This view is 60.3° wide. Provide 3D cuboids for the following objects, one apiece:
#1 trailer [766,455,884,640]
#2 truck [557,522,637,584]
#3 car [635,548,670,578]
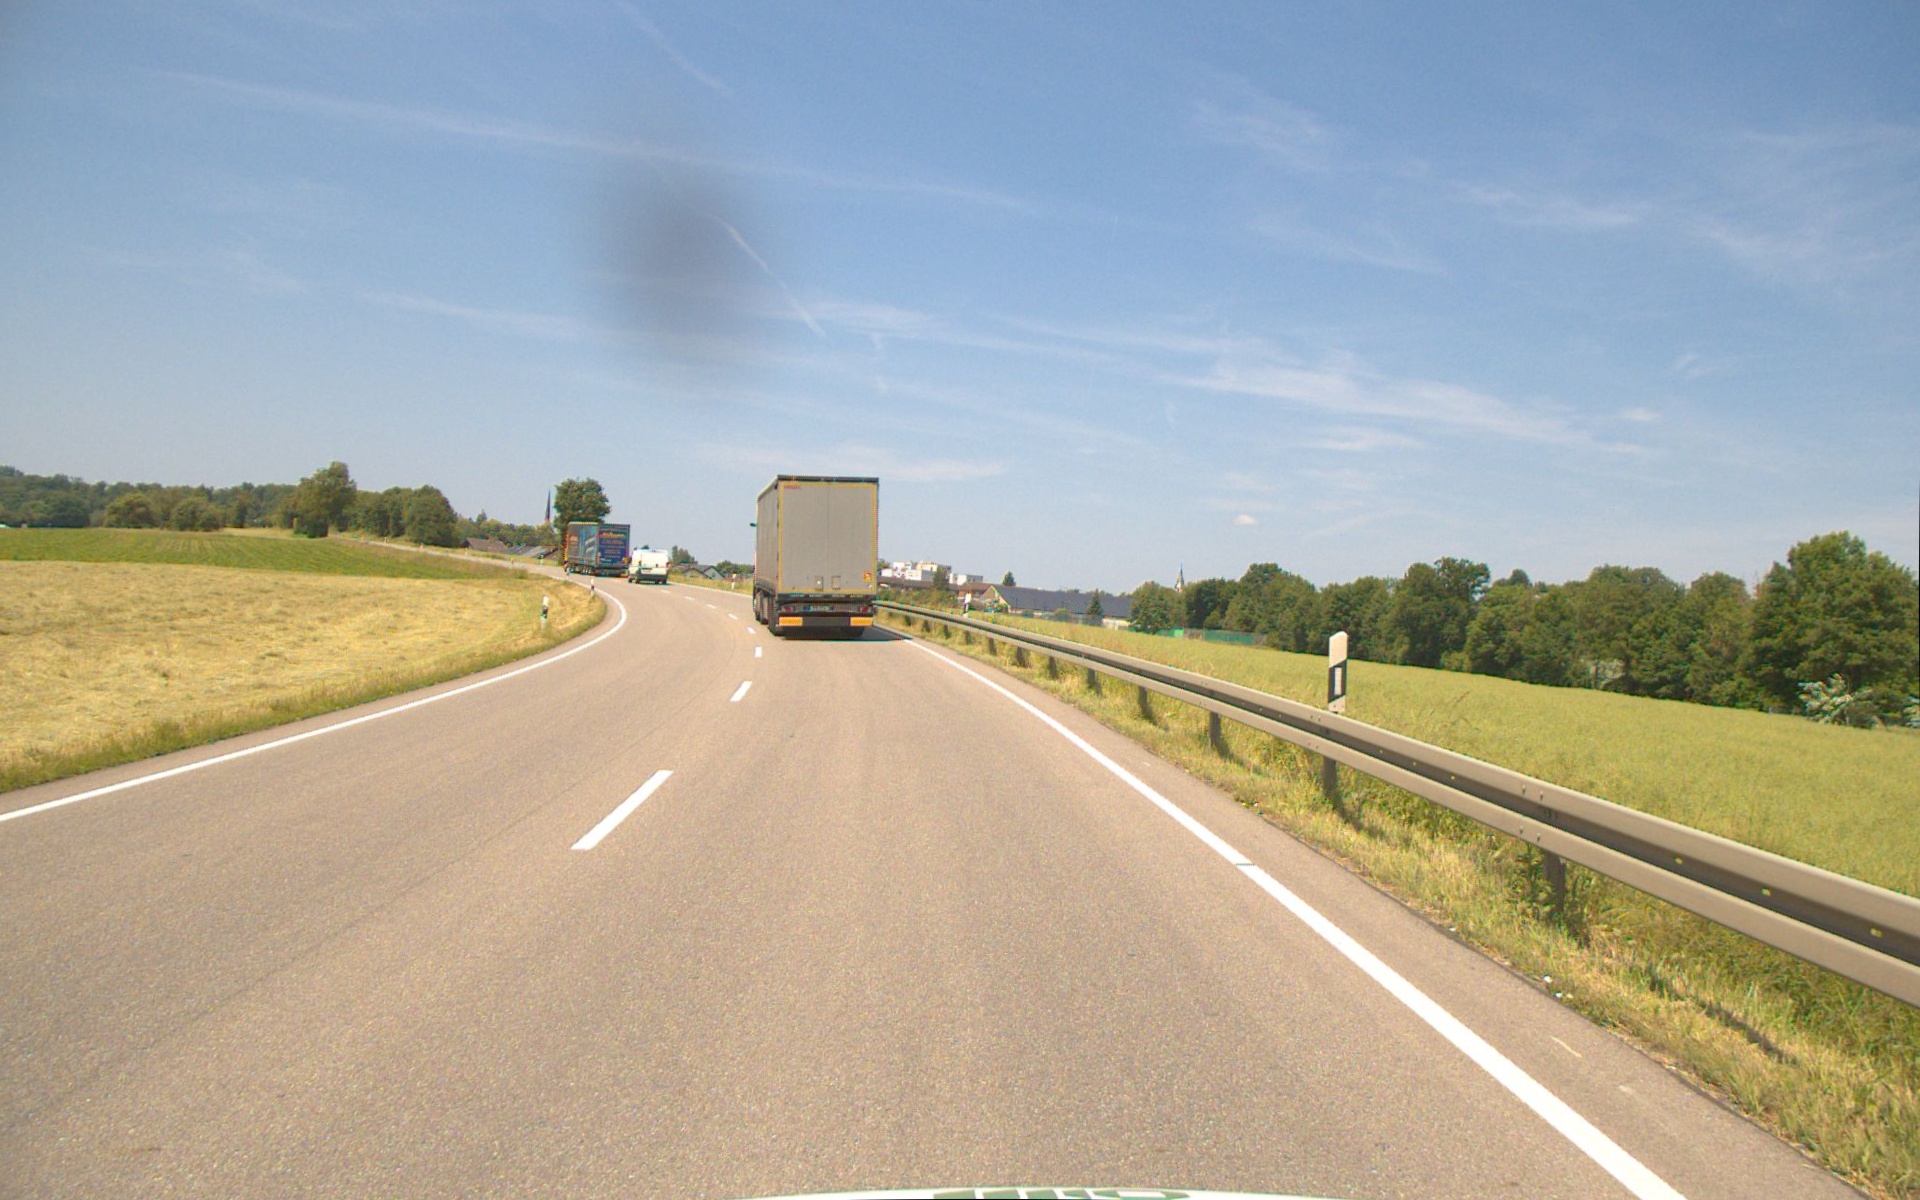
[{"bbox_3d":[-4.014,-1.394,46.994,2.812,4.477,13.475,1,1,-6],"label":"trailer"},{"bbox_3d":[-29.498,-3.766,133.590,3.498,4.468,18.010,3,0,-21],"label":"truck"},{"bbox_3d":[-20.583,-2.466,110.622,1.698,1.905,3.981,2,1,-18],"label":"car"}]
